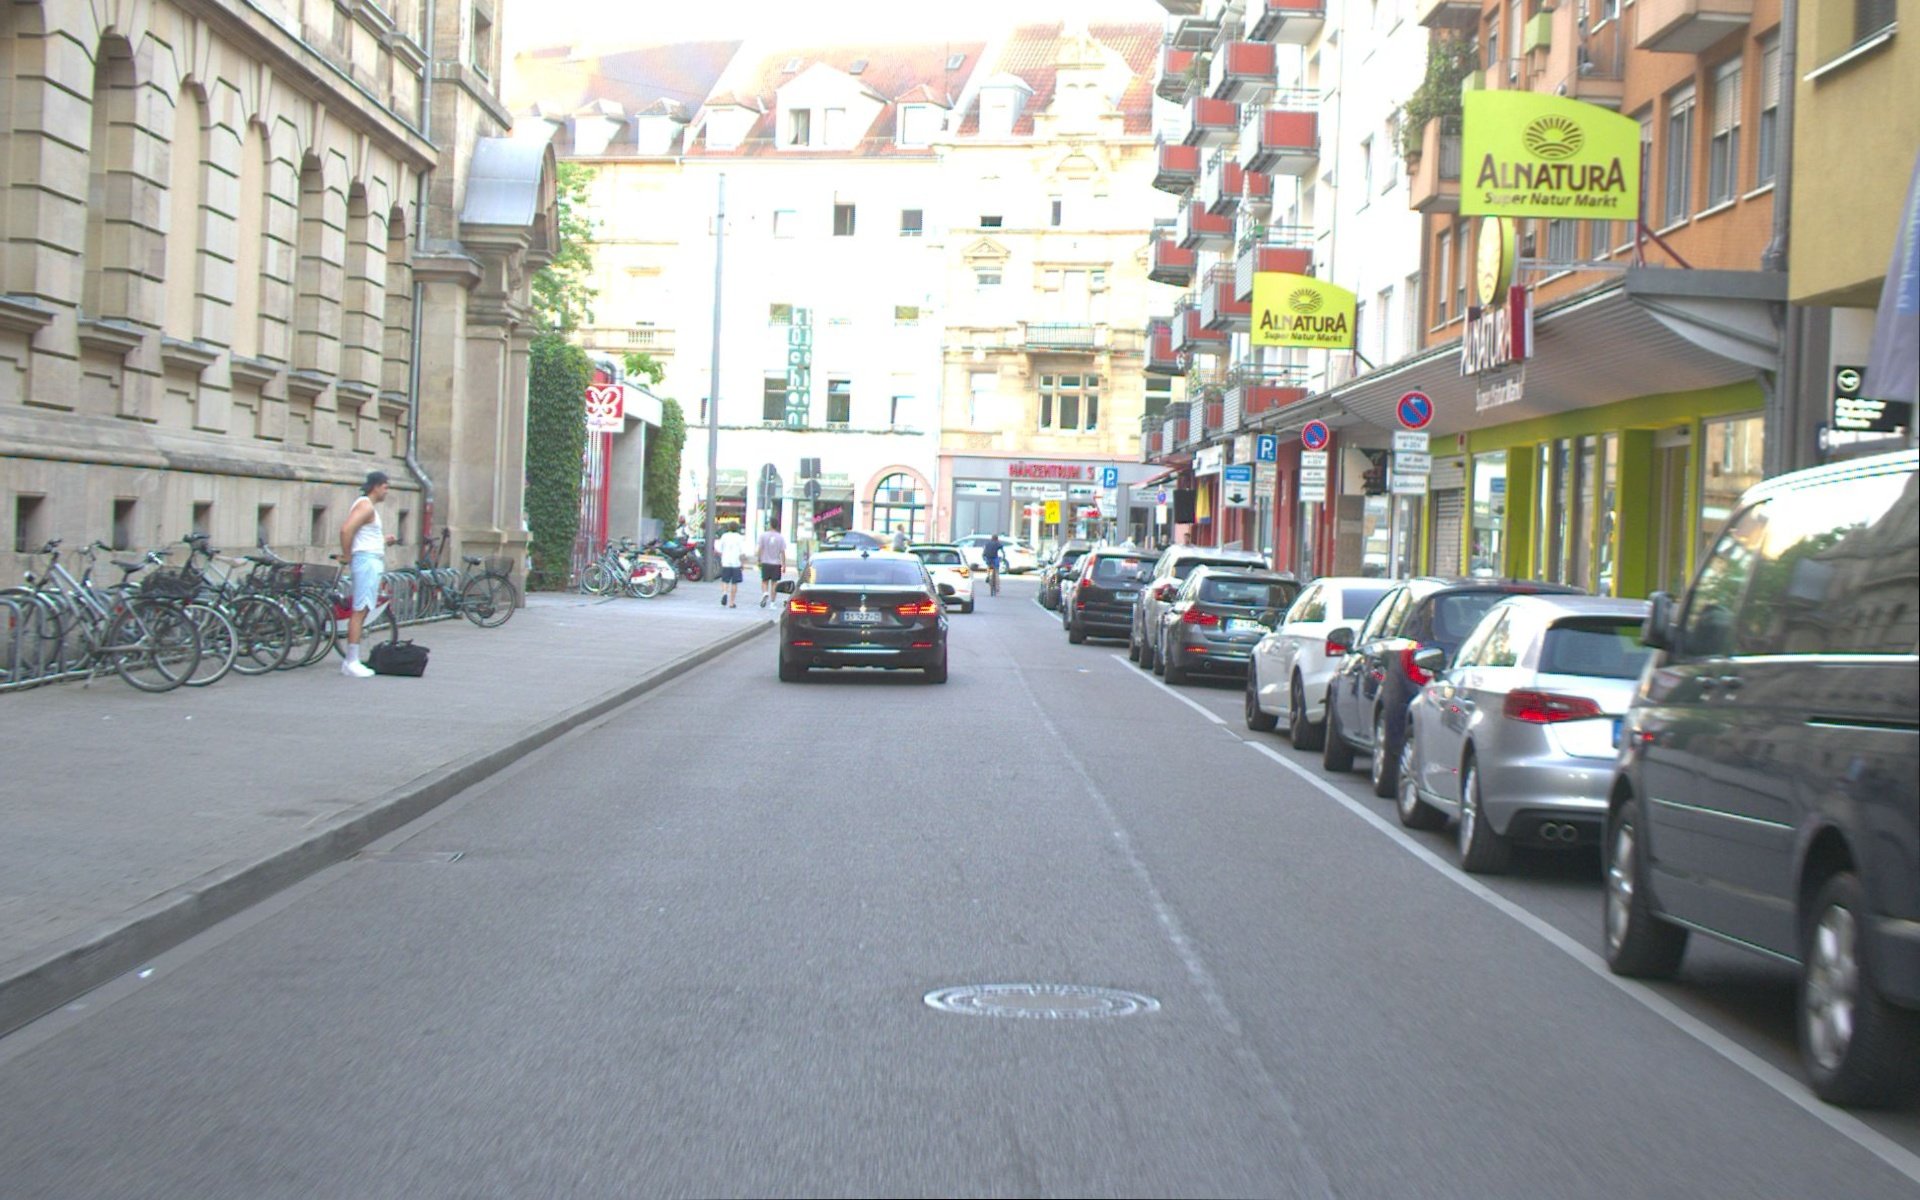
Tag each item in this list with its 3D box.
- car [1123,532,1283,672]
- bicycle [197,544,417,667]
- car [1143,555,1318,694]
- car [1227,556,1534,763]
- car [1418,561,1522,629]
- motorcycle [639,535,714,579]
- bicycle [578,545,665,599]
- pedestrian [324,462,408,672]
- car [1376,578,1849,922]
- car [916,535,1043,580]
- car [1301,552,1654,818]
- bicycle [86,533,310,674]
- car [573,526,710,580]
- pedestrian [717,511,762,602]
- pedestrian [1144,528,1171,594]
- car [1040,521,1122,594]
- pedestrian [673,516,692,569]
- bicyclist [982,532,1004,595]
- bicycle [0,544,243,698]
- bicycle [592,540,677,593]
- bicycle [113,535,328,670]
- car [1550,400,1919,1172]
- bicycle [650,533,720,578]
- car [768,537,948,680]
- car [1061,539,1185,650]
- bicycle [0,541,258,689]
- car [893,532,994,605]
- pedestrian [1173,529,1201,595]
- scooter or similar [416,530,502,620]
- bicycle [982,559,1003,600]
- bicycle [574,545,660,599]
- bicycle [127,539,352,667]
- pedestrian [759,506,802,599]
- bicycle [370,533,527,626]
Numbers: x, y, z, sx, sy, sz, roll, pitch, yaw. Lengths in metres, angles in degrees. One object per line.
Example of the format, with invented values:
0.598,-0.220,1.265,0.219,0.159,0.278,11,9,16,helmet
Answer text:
3.252,-0.024,46.794,1.752,1.662,4.756,4,1,0,car
-6.239,0.051,32.897,1.937,1.058,0.620,3,0,-2,bicycle
3.234,0.252,41.830,1.691,1.410,4.756,4,1,0,car
3.443,0.434,28.976,1.691,1.406,4.640,4,1,-3,car
10.947,-0.128,74.000,1.740,1.332,4.000,2,1,2,car
-7.551,-1.157,91.484,1.803,1.060,0.763,4,1,26,motorcycle
-7.299,-0.605,74.184,1.794,1.104,0.500,2,1,0,bicycle
-5.368,-0.306,31.095,0.588,1.845,0.754,4,1,-6,pedestrian
3.391,0.703,18.693,1.687,1.448,4.498,4,1,1,car
0.748,-1.616,129.591,4.357,1.557,1.866,2,0,23,car
3.476,0.508,23.805,1.618,1.511,4.174,4,1,-1,car
-6.605,0.030,29.840,1.794,1.104,0.500,3,0,-6,bicycle
-9.630,-1.427,103.726,3.986,1.496,1.892,1,1,-8,car
-4.566,-0.907,71.309,0.741,1.806,1.009,4,1,-1,pedestrian
5.043,-0.997,87.999,0.648,1.655,0.655,-1,1,2,pedestrian
2.981,-1.087,85.520,1.765,1.636,4.791,4,1,0,car
-8.655,-1.794,107.297,0.500,1.637,0.520,2,1,2,pedestrian
0.923,-1.023,96.621,0.523,1.750,0.620,3,1,1,bicyclist
-6.560,0.152,26.374,1.937,1.058,0.620,3,0,-1,bicycle
-7.254,-0.745,76.704,1.794,1.104,0.500,3,1,3,bicycle
-6.665,0.021,31.040,1.794,1.104,0.500,3,0,-6,bicycle
3.438,0.507,11.599,1.846,2.051,5.054,3,1,-1,car
-7.437,-1.214,92.916,1.794,1.104,0.500,3,1,-1,bicycle
-1.066,0.042,38.040,1.765,1.370,4.791,3,1,0,car
2.693,-0.128,56.044,1.794,1.604,4.486,4,1,4,car
-6.685,0.117,27.622,1.937,1.058,0.620,3,0,-6,bicycle
-0.337,-0.702,74.366,1.878,1.468,4.000,2,1,4,car
5.815,-0.977,88.023,0.648,1.655,0.794,-1,1,2,pedestrian
-7.226,-0.356,49.549,1.132,1.228,0.497,3,1,-12,scooter or similar
0.905,-0.590,96.650,0.536,1.104,1.800,3,1,1,bicycle
-7.430,-0.610,74.530,1.794,1.104,0.500,2,1,-1,bicycle
-6.663,0.027,31.855,1.937,1.058,0.620,3,0,-6,bicycle
-3.743,-0.993,71.711,0.744,1.887,1.050,3,1,1,pedestrian
-6.809,-0.277,45.760,1.936,1.058,0.620,5,0,-15,bicycle
